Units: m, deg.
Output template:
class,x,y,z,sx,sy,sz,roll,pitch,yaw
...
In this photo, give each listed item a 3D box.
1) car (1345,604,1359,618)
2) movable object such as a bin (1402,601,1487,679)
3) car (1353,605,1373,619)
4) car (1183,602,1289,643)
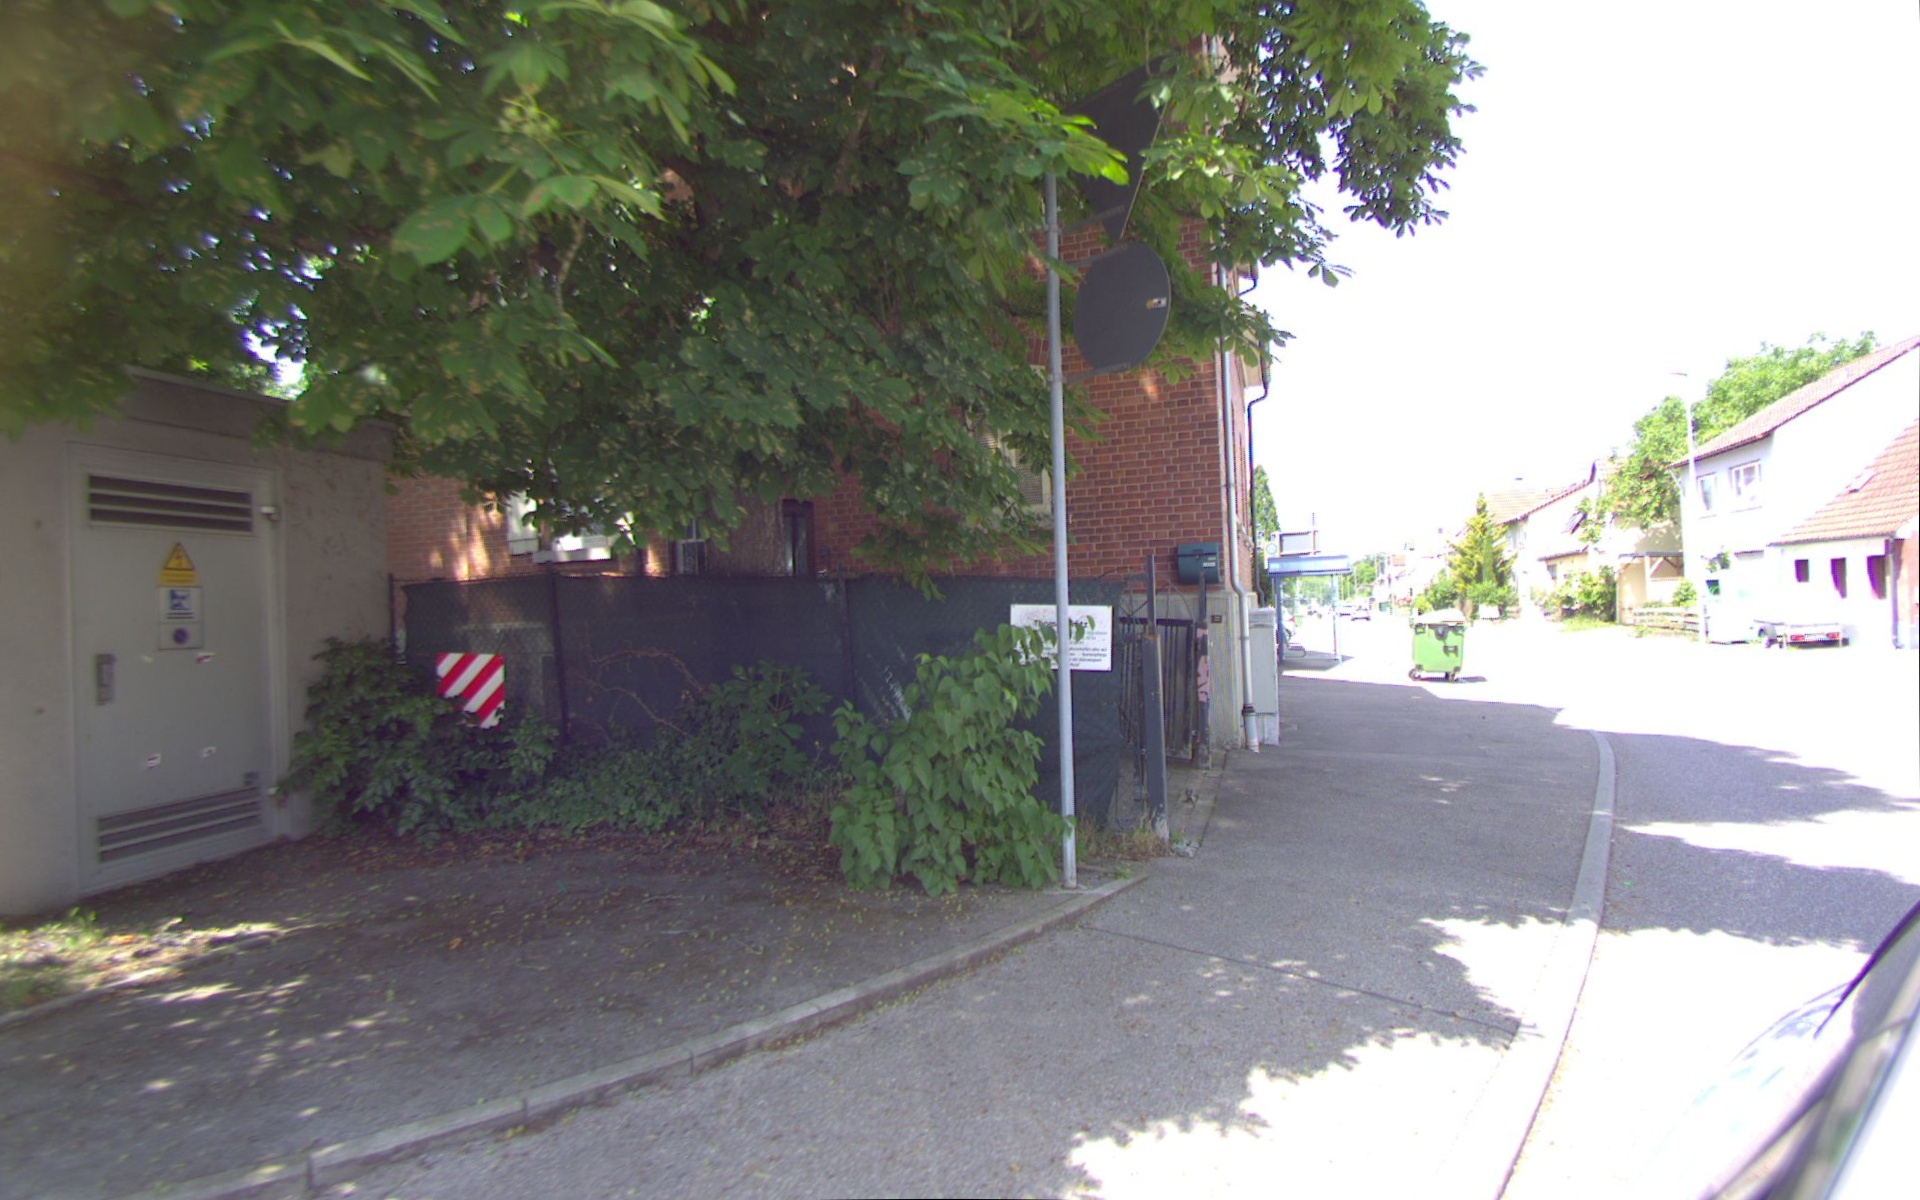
class,x,y,z,sx,sy,sz,roll,pitch,yaw
car,50.334,1.444,129.943,1.392,1.721,3.297,-2,-1,18
movable object such as a bin,9.994,0.819,20.945,1.336,1.540,1.285,-2,-1,16
car,41.154,1.214,103.443,1.627,1.374,3.546,-2,-1,18
car,11.642,0.956,42.804,3.920,1.591,1.765,-1,-1,-5
